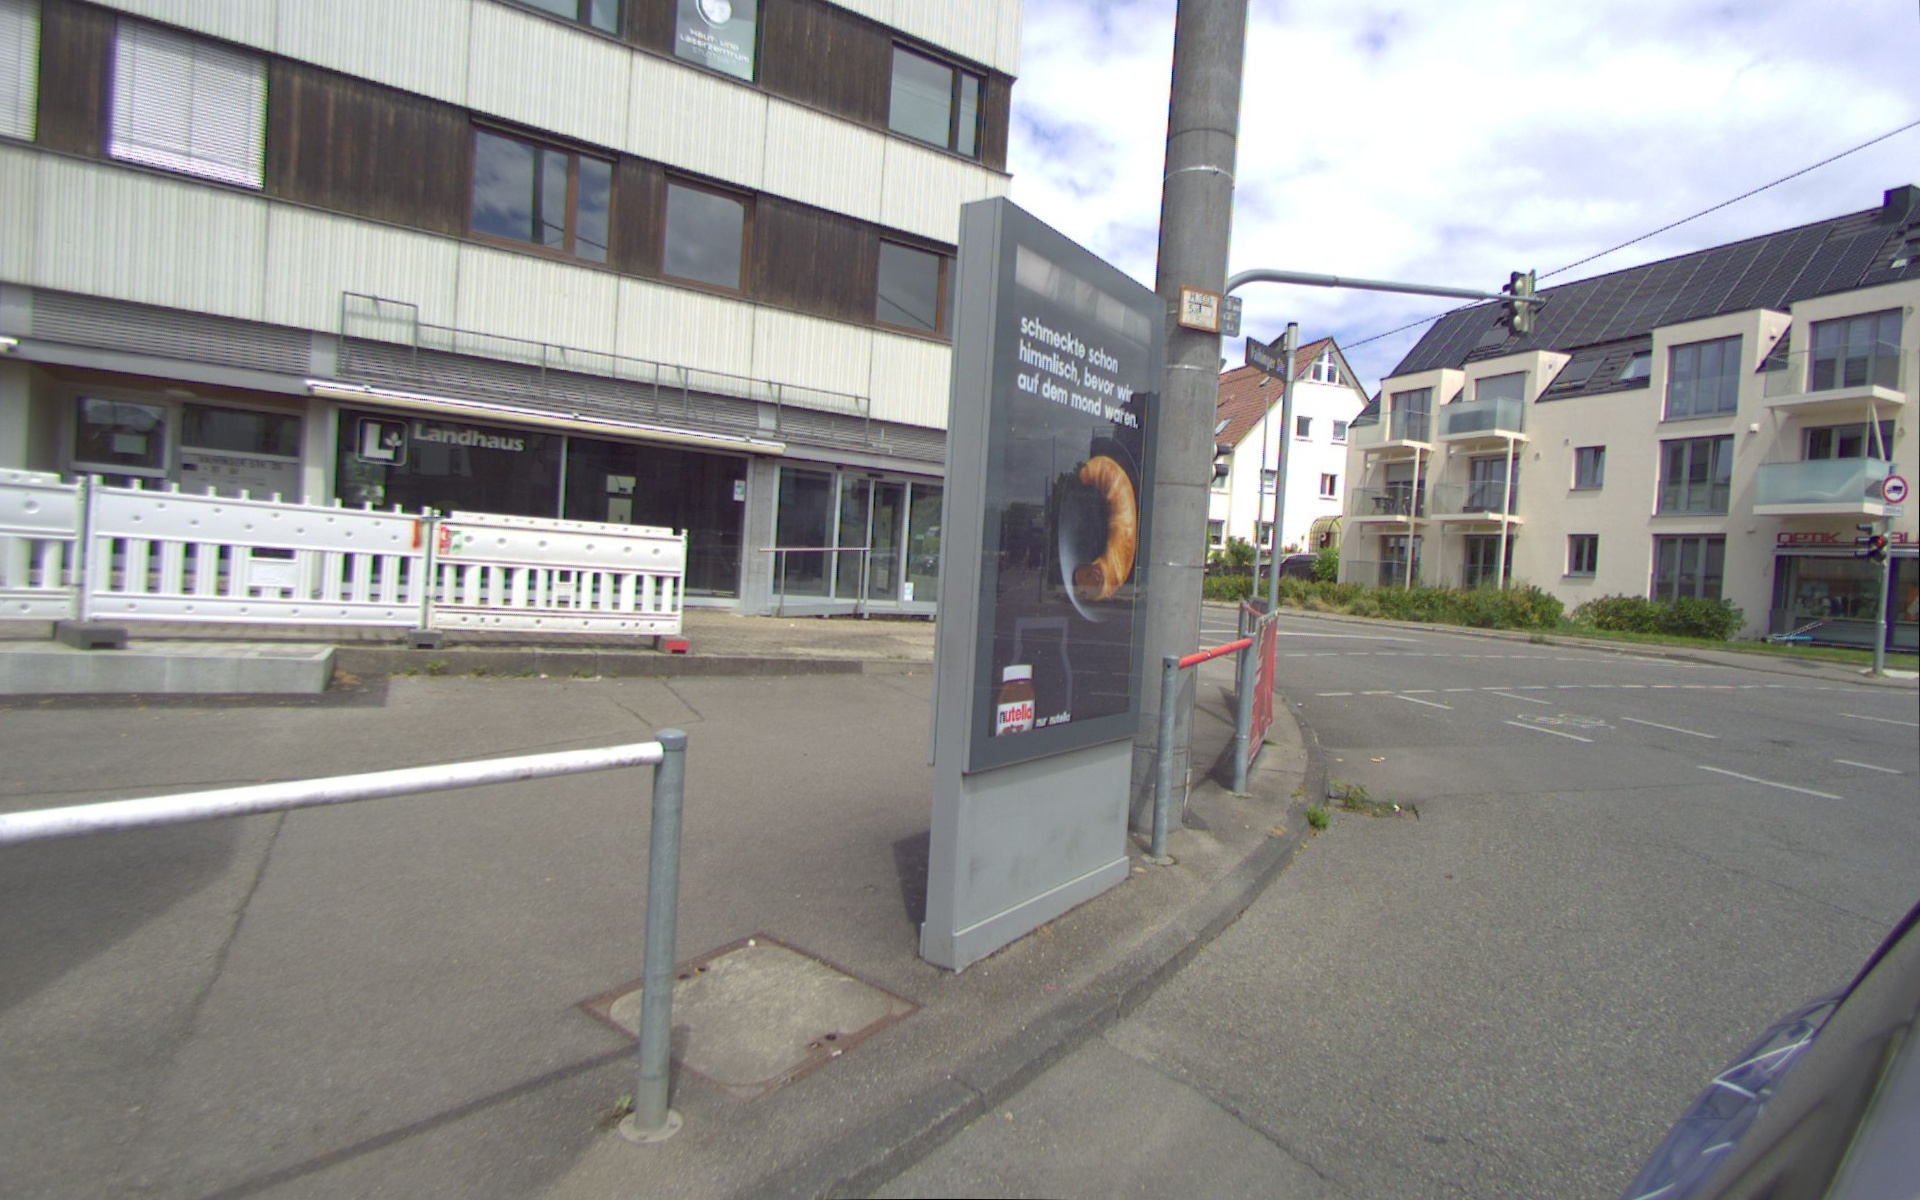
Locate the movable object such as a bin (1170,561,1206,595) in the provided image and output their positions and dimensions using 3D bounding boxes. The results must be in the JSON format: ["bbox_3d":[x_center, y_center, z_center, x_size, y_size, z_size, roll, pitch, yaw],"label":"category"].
[{"bbox_3d":[9.766,-0.965,43.315,1.069,1.379,0.983,2,2,-18],"label":"movable object such as a bin"}]

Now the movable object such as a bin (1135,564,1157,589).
[{"bbox_3d":[8.447,-1.086,45.990,0.748,1.078,0.694,2,2,-11],"label":"movable object such as a bin"}]

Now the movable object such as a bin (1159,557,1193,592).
[{"bbox_3d":[9.487,-1.125,44.501,1.069,1.464,0.983,2,2,-18],"label":"movable object such as a bin"}]

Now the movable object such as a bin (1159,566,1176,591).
[{"bbox_3d":[9.304,-0.978,45.400,0.520,1.078,0.649,4,3,33],"label":"movable object such as a bin"}]

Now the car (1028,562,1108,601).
[{"bbox_3d":[4.924,-0.880,46.731,1.781,1.519,4.465,2,3,-21],"label":"car"}]

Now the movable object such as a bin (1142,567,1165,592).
[{"bbox_3d":[8.647,-0.934,45.330,0.748,1.078,0.694,2,2,-11],"label":"movable object such as a bin"}]

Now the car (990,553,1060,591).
[{"bbox_3d":[3.220,-1.450,51.287,1.958,1.653,4.465,2,3,-18],"label":"car"}]
